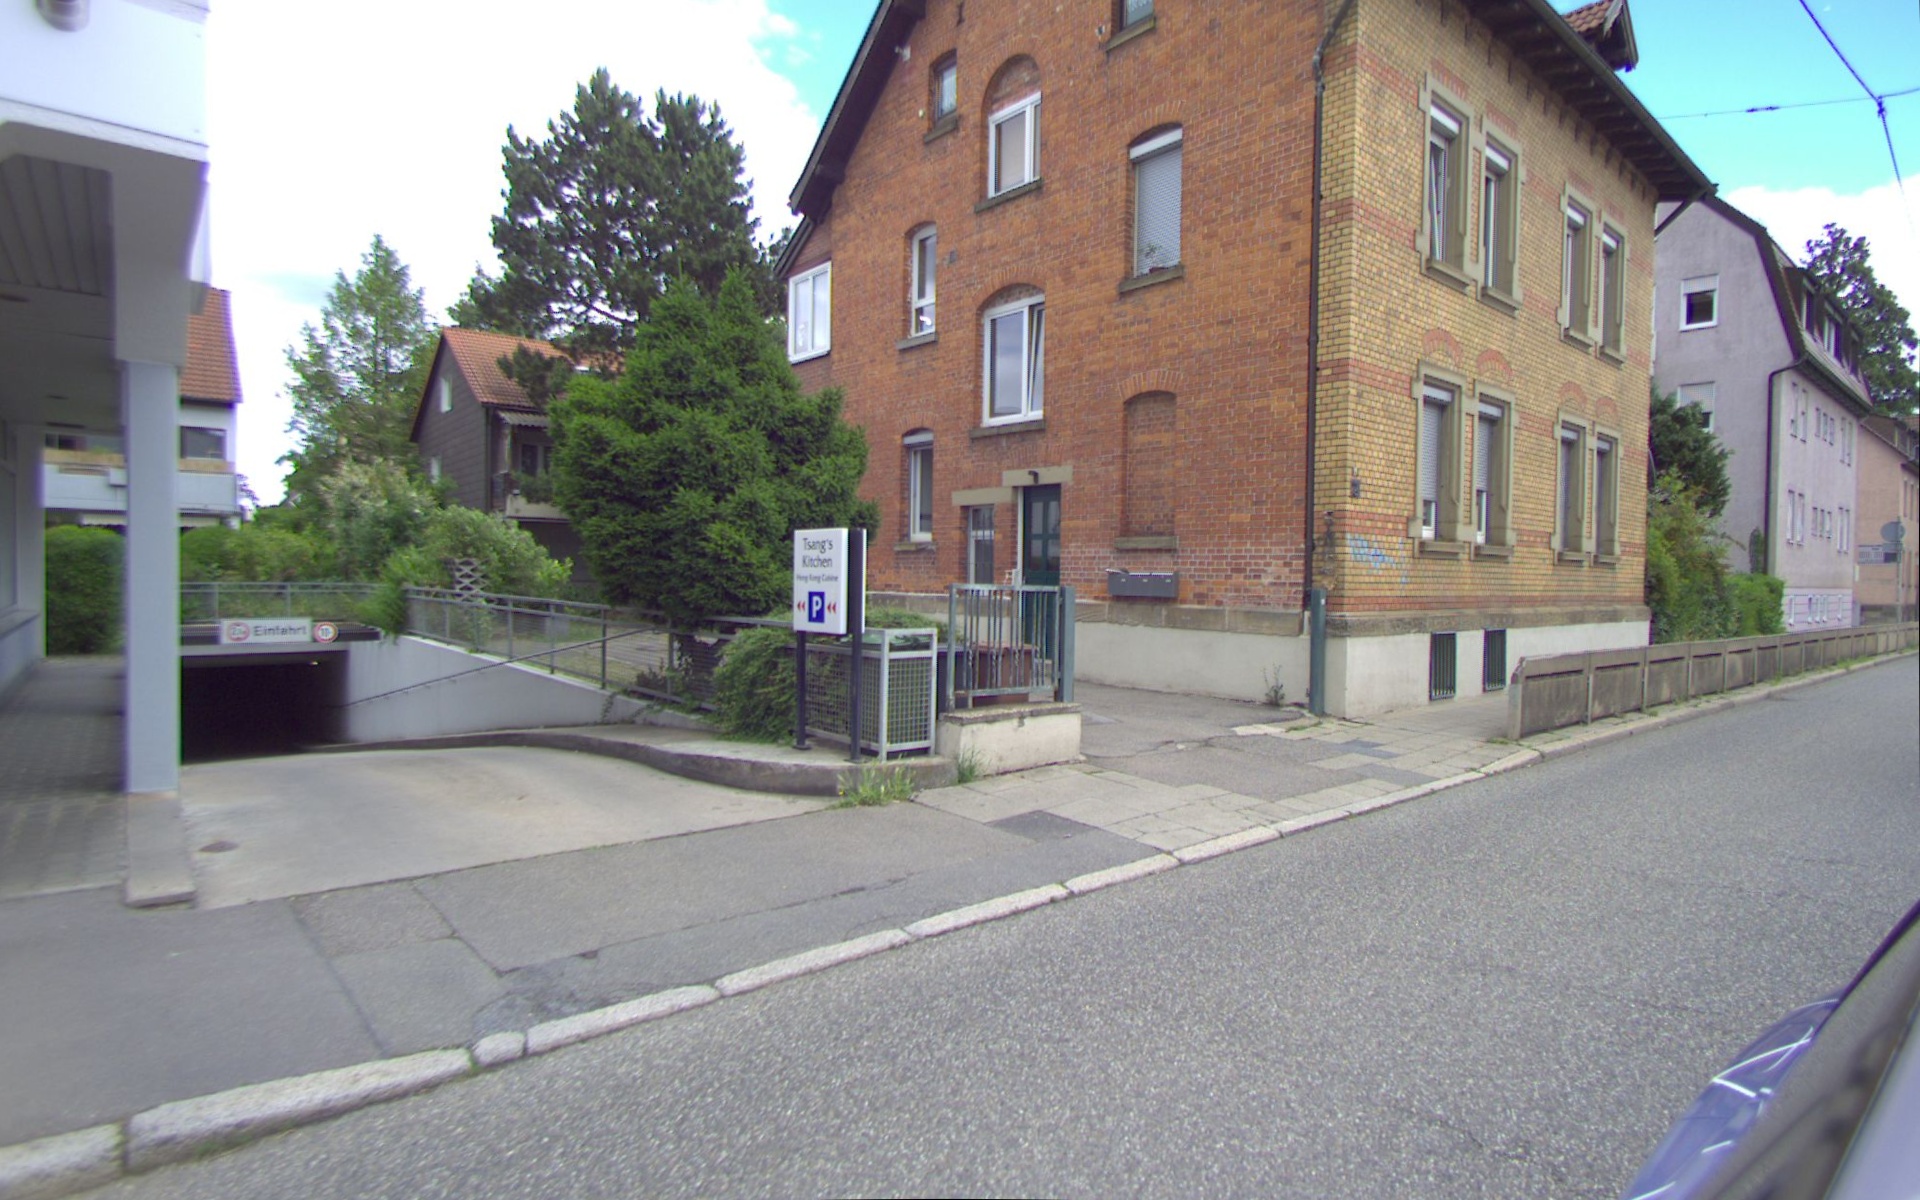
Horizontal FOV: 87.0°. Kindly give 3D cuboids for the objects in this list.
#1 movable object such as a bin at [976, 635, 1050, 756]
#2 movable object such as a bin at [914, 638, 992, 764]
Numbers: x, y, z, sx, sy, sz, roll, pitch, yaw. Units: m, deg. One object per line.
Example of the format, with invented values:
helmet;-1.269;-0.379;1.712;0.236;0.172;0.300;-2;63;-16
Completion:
movable object such as a bin;0.430;0.761;8.239;0.448;0.915;0.398;0;1;-41
movable object such as a bin;-0.053;0.769;7.885;0.448;0.915;0.398;0;1;-41
